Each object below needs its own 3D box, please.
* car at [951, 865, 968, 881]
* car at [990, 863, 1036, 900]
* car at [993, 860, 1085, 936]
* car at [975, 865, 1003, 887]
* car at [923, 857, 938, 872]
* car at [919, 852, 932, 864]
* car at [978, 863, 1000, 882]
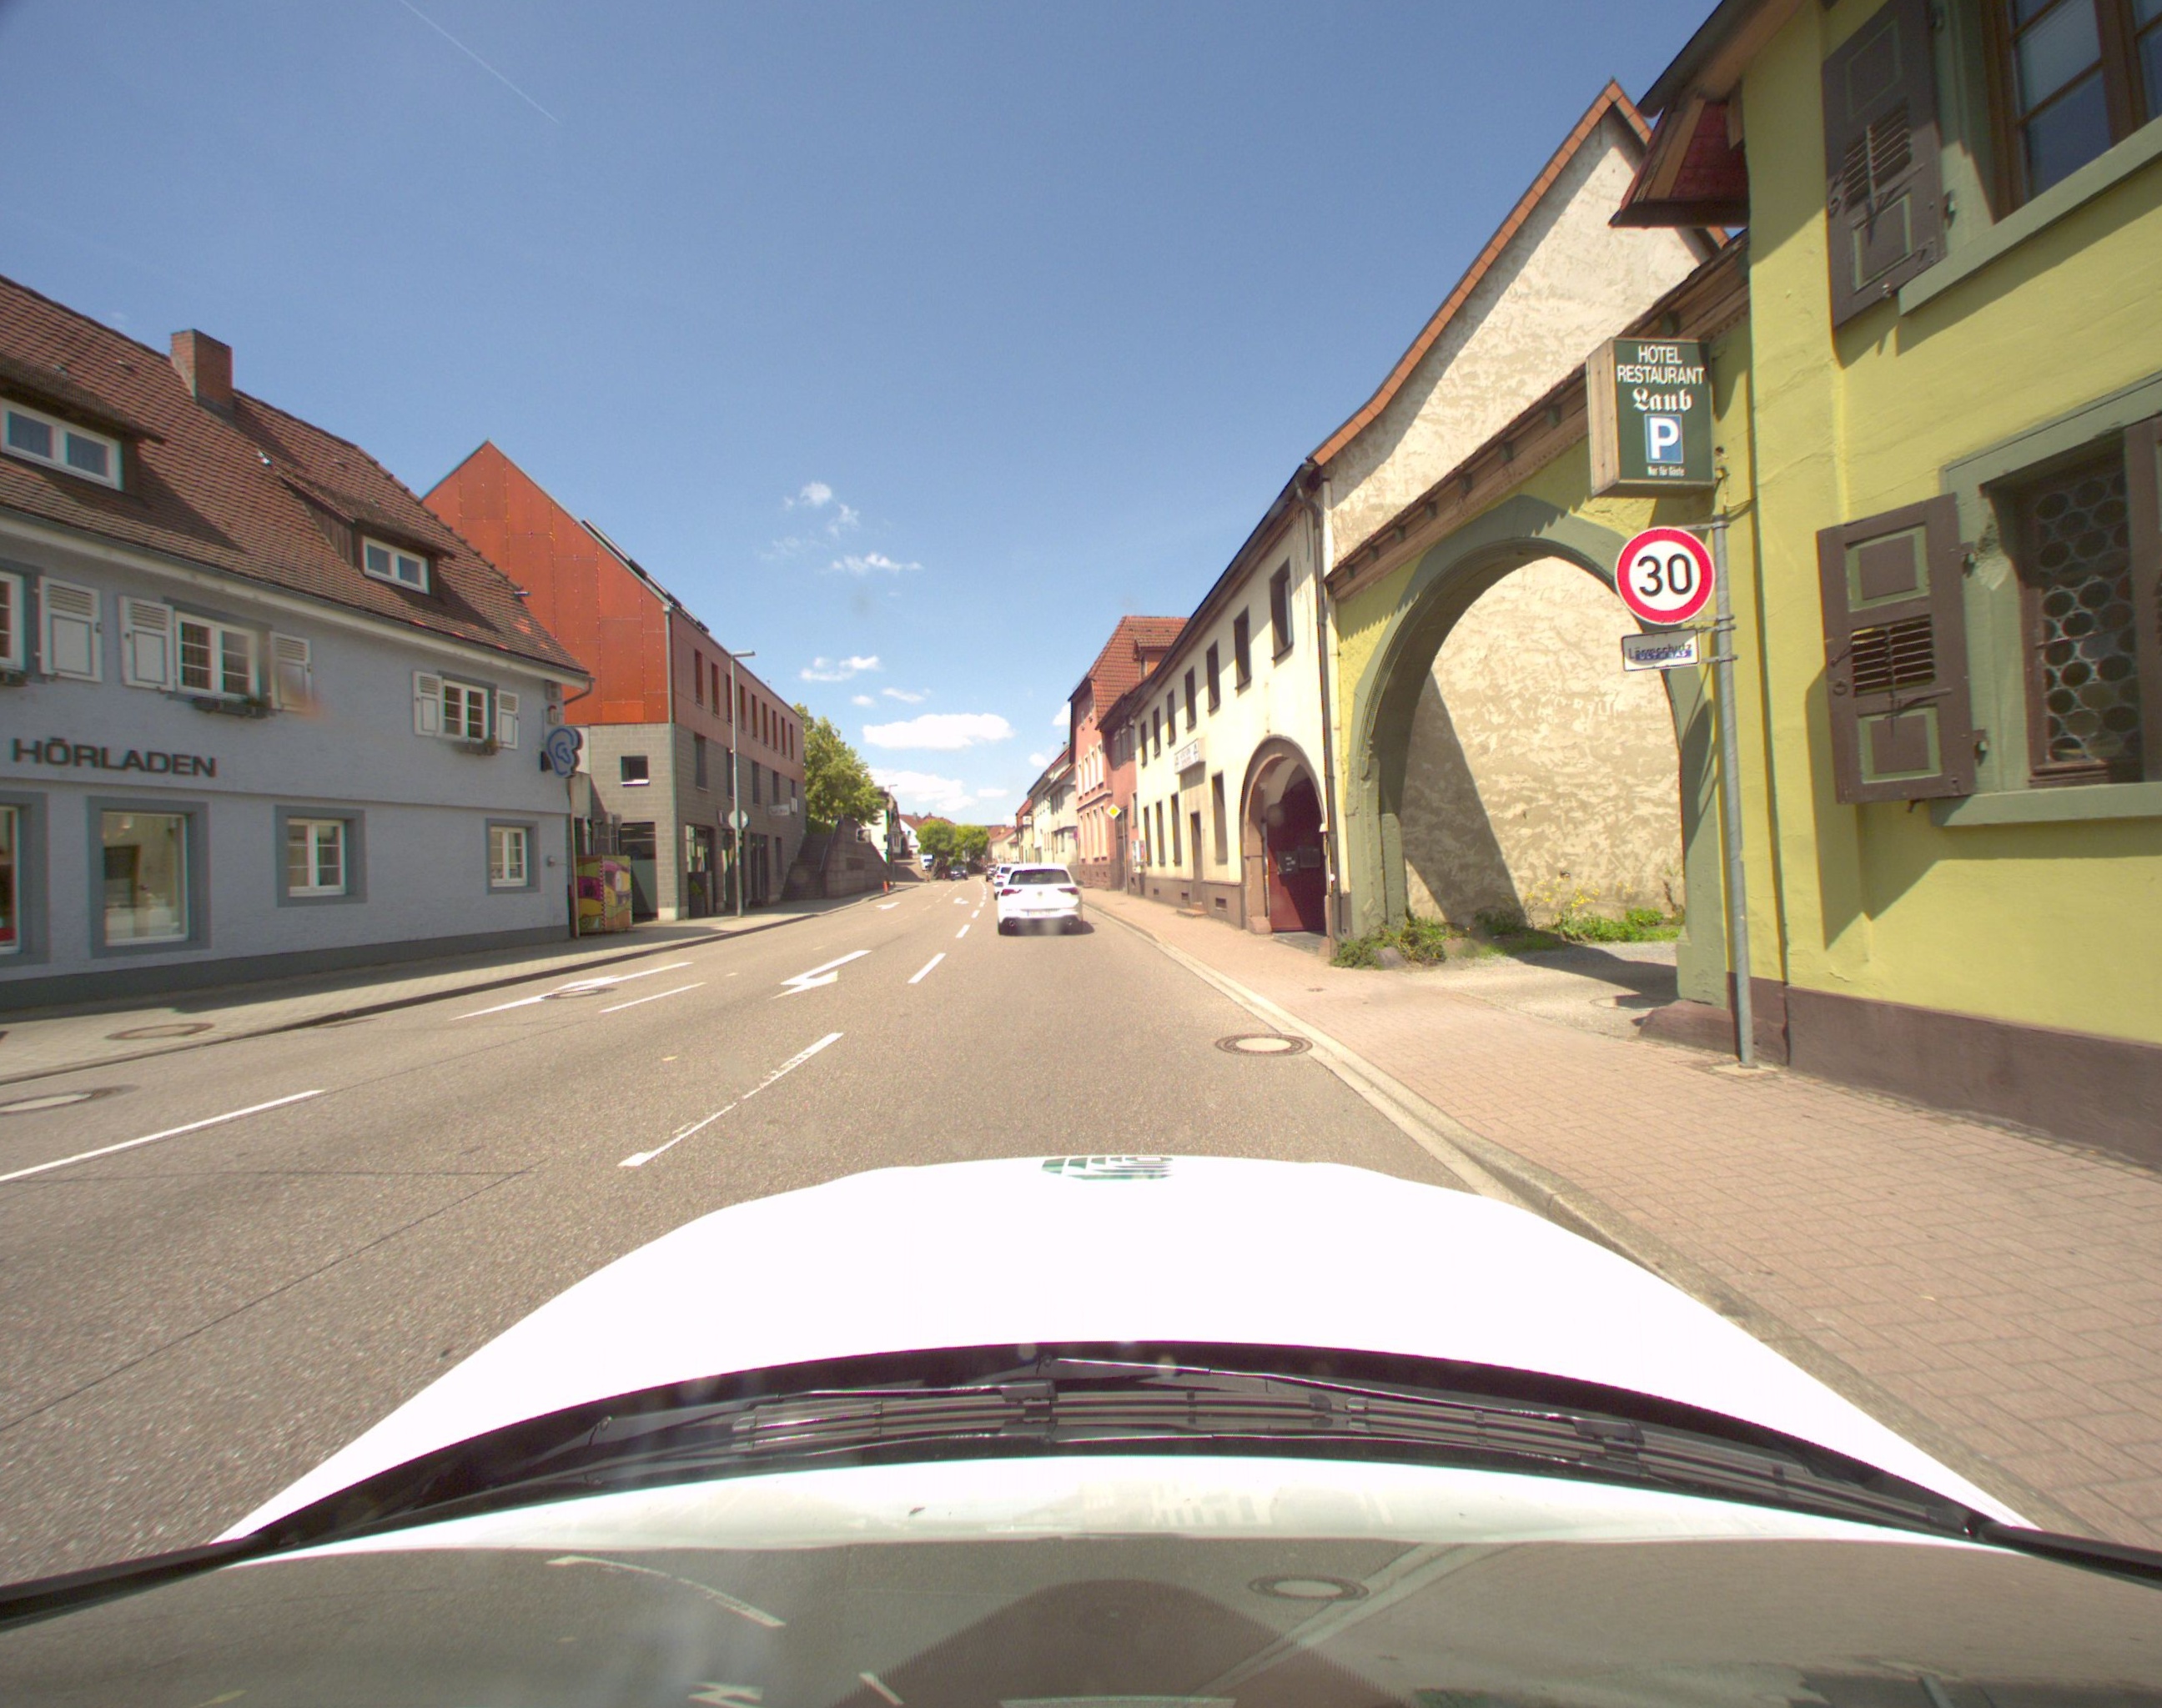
[{"bbox_3d":[-13.385,2.056,89.846,1.667,1.657,4.009,-2,-1,-6],"label":"car"},{"bbox_3d":[-2.874,1.148,34.516,1.805,1.468,3.993,0,-1,-5],"label":"car"},{"bbox_3d":[-0.869,0.901,17.954,1.803,1.468,3.997,0,-1,-1],"label":"car"},{"bbox_3d":[-6.441,1.550,56.703,1.807,1.468,3.989,0,-1,-8],"label":"car"},{"bbox_3d":[-19.321,1.315,104.511,1.692,1.542,3.846,-2,5,-8],"label":"car"},{"bbox_3d":[-22.144,0.581,116.278,1.576,1.361,3.846,-2,5,-8],"label":"car"},{"bbox_3d":[-8.104,1.592,71.873,1.773,1.538,3.992,-2,-1,-5],"label":"car"}]
